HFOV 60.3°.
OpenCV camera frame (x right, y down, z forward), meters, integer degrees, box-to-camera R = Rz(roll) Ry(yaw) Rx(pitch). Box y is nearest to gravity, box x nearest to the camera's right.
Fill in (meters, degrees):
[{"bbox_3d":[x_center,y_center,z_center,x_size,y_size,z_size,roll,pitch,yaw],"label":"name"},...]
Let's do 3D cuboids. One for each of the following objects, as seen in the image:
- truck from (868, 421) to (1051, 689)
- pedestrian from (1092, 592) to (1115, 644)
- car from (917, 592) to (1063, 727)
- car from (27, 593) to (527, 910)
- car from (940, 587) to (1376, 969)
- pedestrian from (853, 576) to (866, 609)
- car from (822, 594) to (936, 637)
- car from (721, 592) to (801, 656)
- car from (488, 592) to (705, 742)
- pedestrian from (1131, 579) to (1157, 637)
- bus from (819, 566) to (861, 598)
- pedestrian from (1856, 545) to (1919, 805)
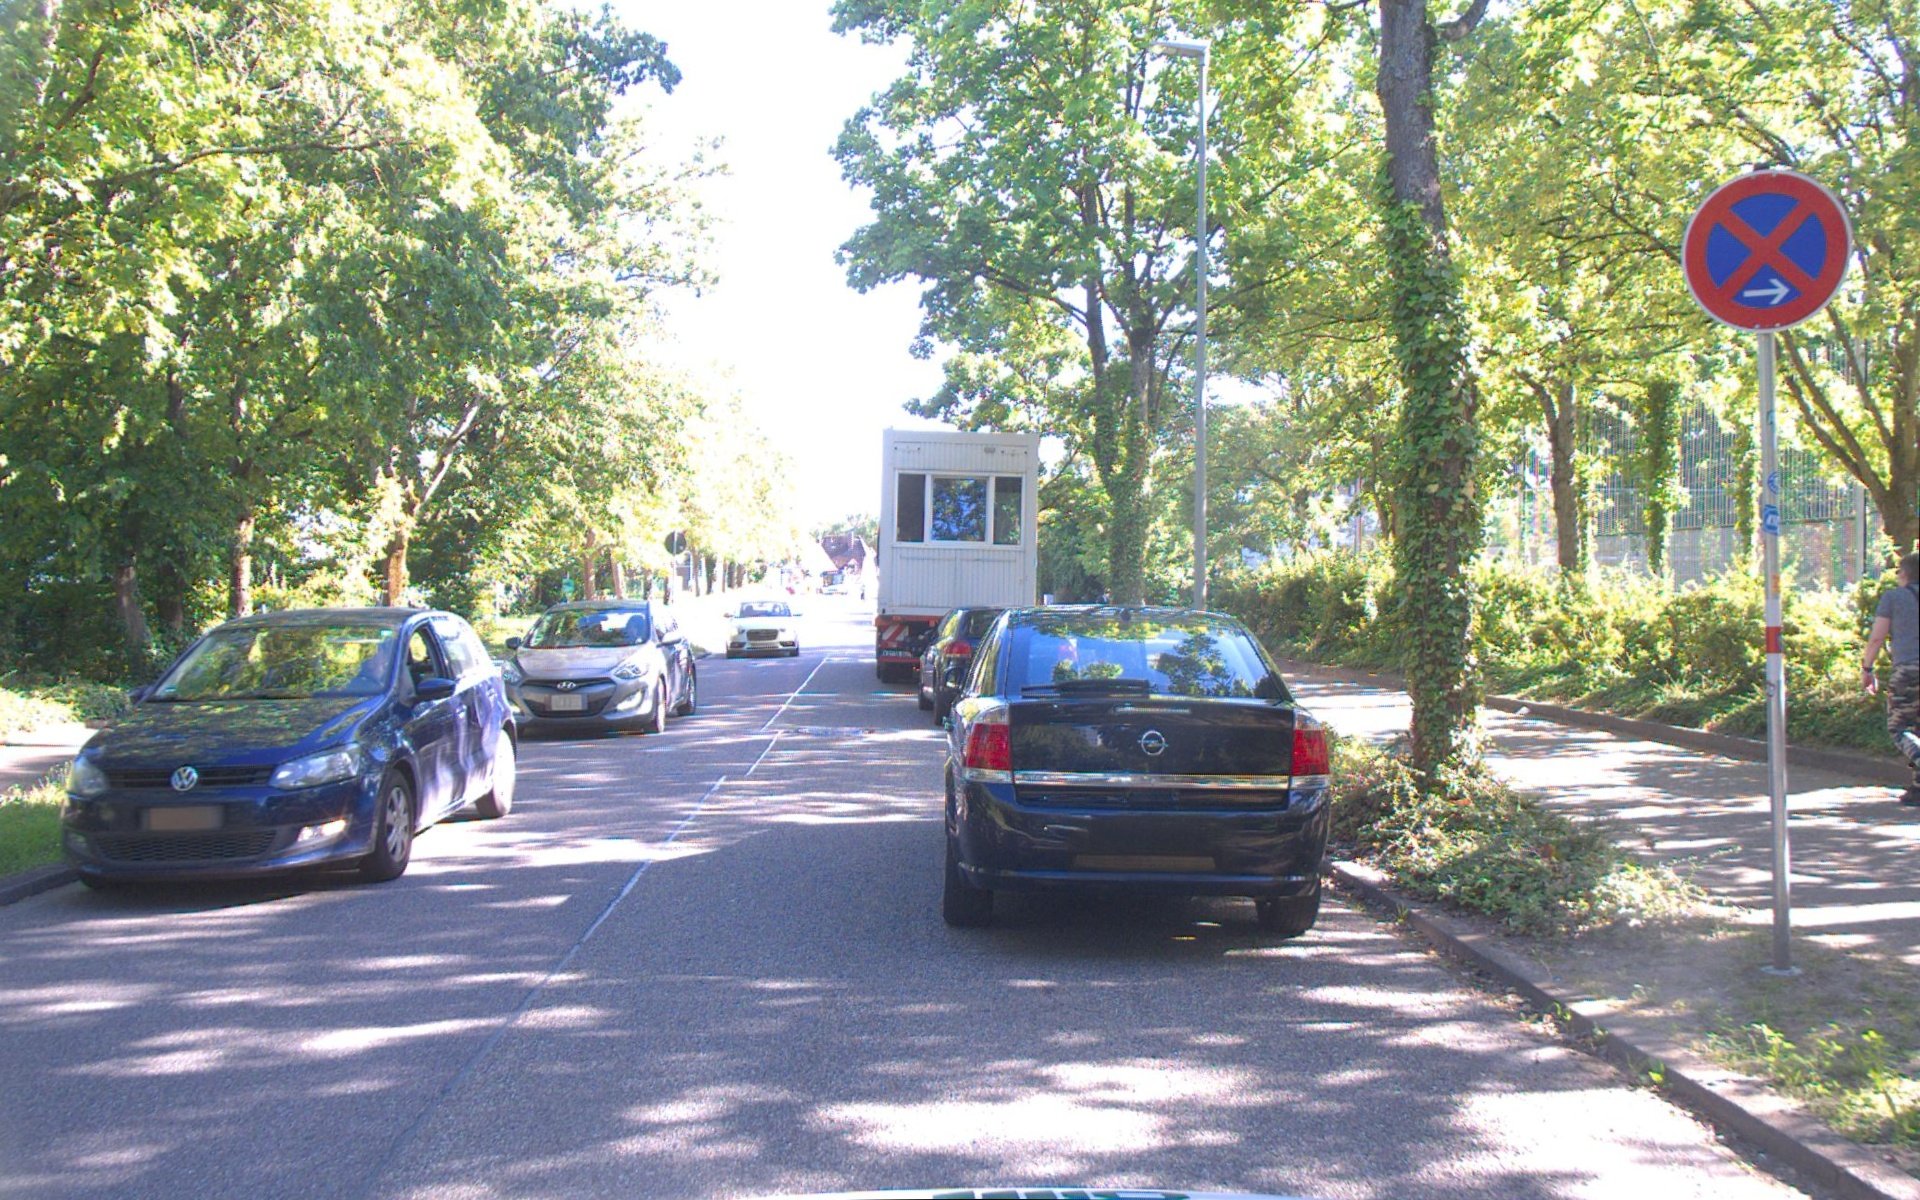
[{"bbox_3d":[-0.290,-0.738,30.752,2.718,4.065,10.341,1,0,-3],"label":"truck"},{"bbox_3d":[4.603,0.577,53.112,0.587,1.639,0.599,-1,0,-6],"label":"pedestrian"},{"bbox_3d":[0.313,0.660,20.586,1.606,1.445,4.000,-2,1,-1],"label":"car"},{"bbox_3d":[-3.753,0.716,9.778,1.569,1.451,3.650,-1,1,-3],"label":"car"},{"bbox_3d":[0.774,0.720,8.632,1.713,1.506,4.029,1,0,-1],"label":"car"},{"bbox_3d":[-6.688,-0.516,109.653,0.737,2.150,0.799,2,0,0],"label":"pedestrian"},{"bbox_3d":[-2.902,0.576,59.203,3.885,1.445,1.802,-1,1,40],"label":"car"},{"bbox_3d":[-4.957,0.567,41.576,1.751,1.441,4.101,-1,1,-4],"label":"car"},{"bbox_3d":[-4.082,0.679,19.213,1.720,1.479,4.241,-1,1,-2],"label":"car"},{"bbox_3d":[5.910,0.261,53.225,0.684,1.844,0.699,-1,0,-6],"label":"pedestrian"},{"bbox_3d":[-13.341,-2.026,185.172,3.982,3.407,9.799,-1,1,-1],"label":"bus"},{"bbox_3d":[6.254,0.474,10.722,0.559,1.636,0.672,0,0,6],"label":"pedestrian"}]
